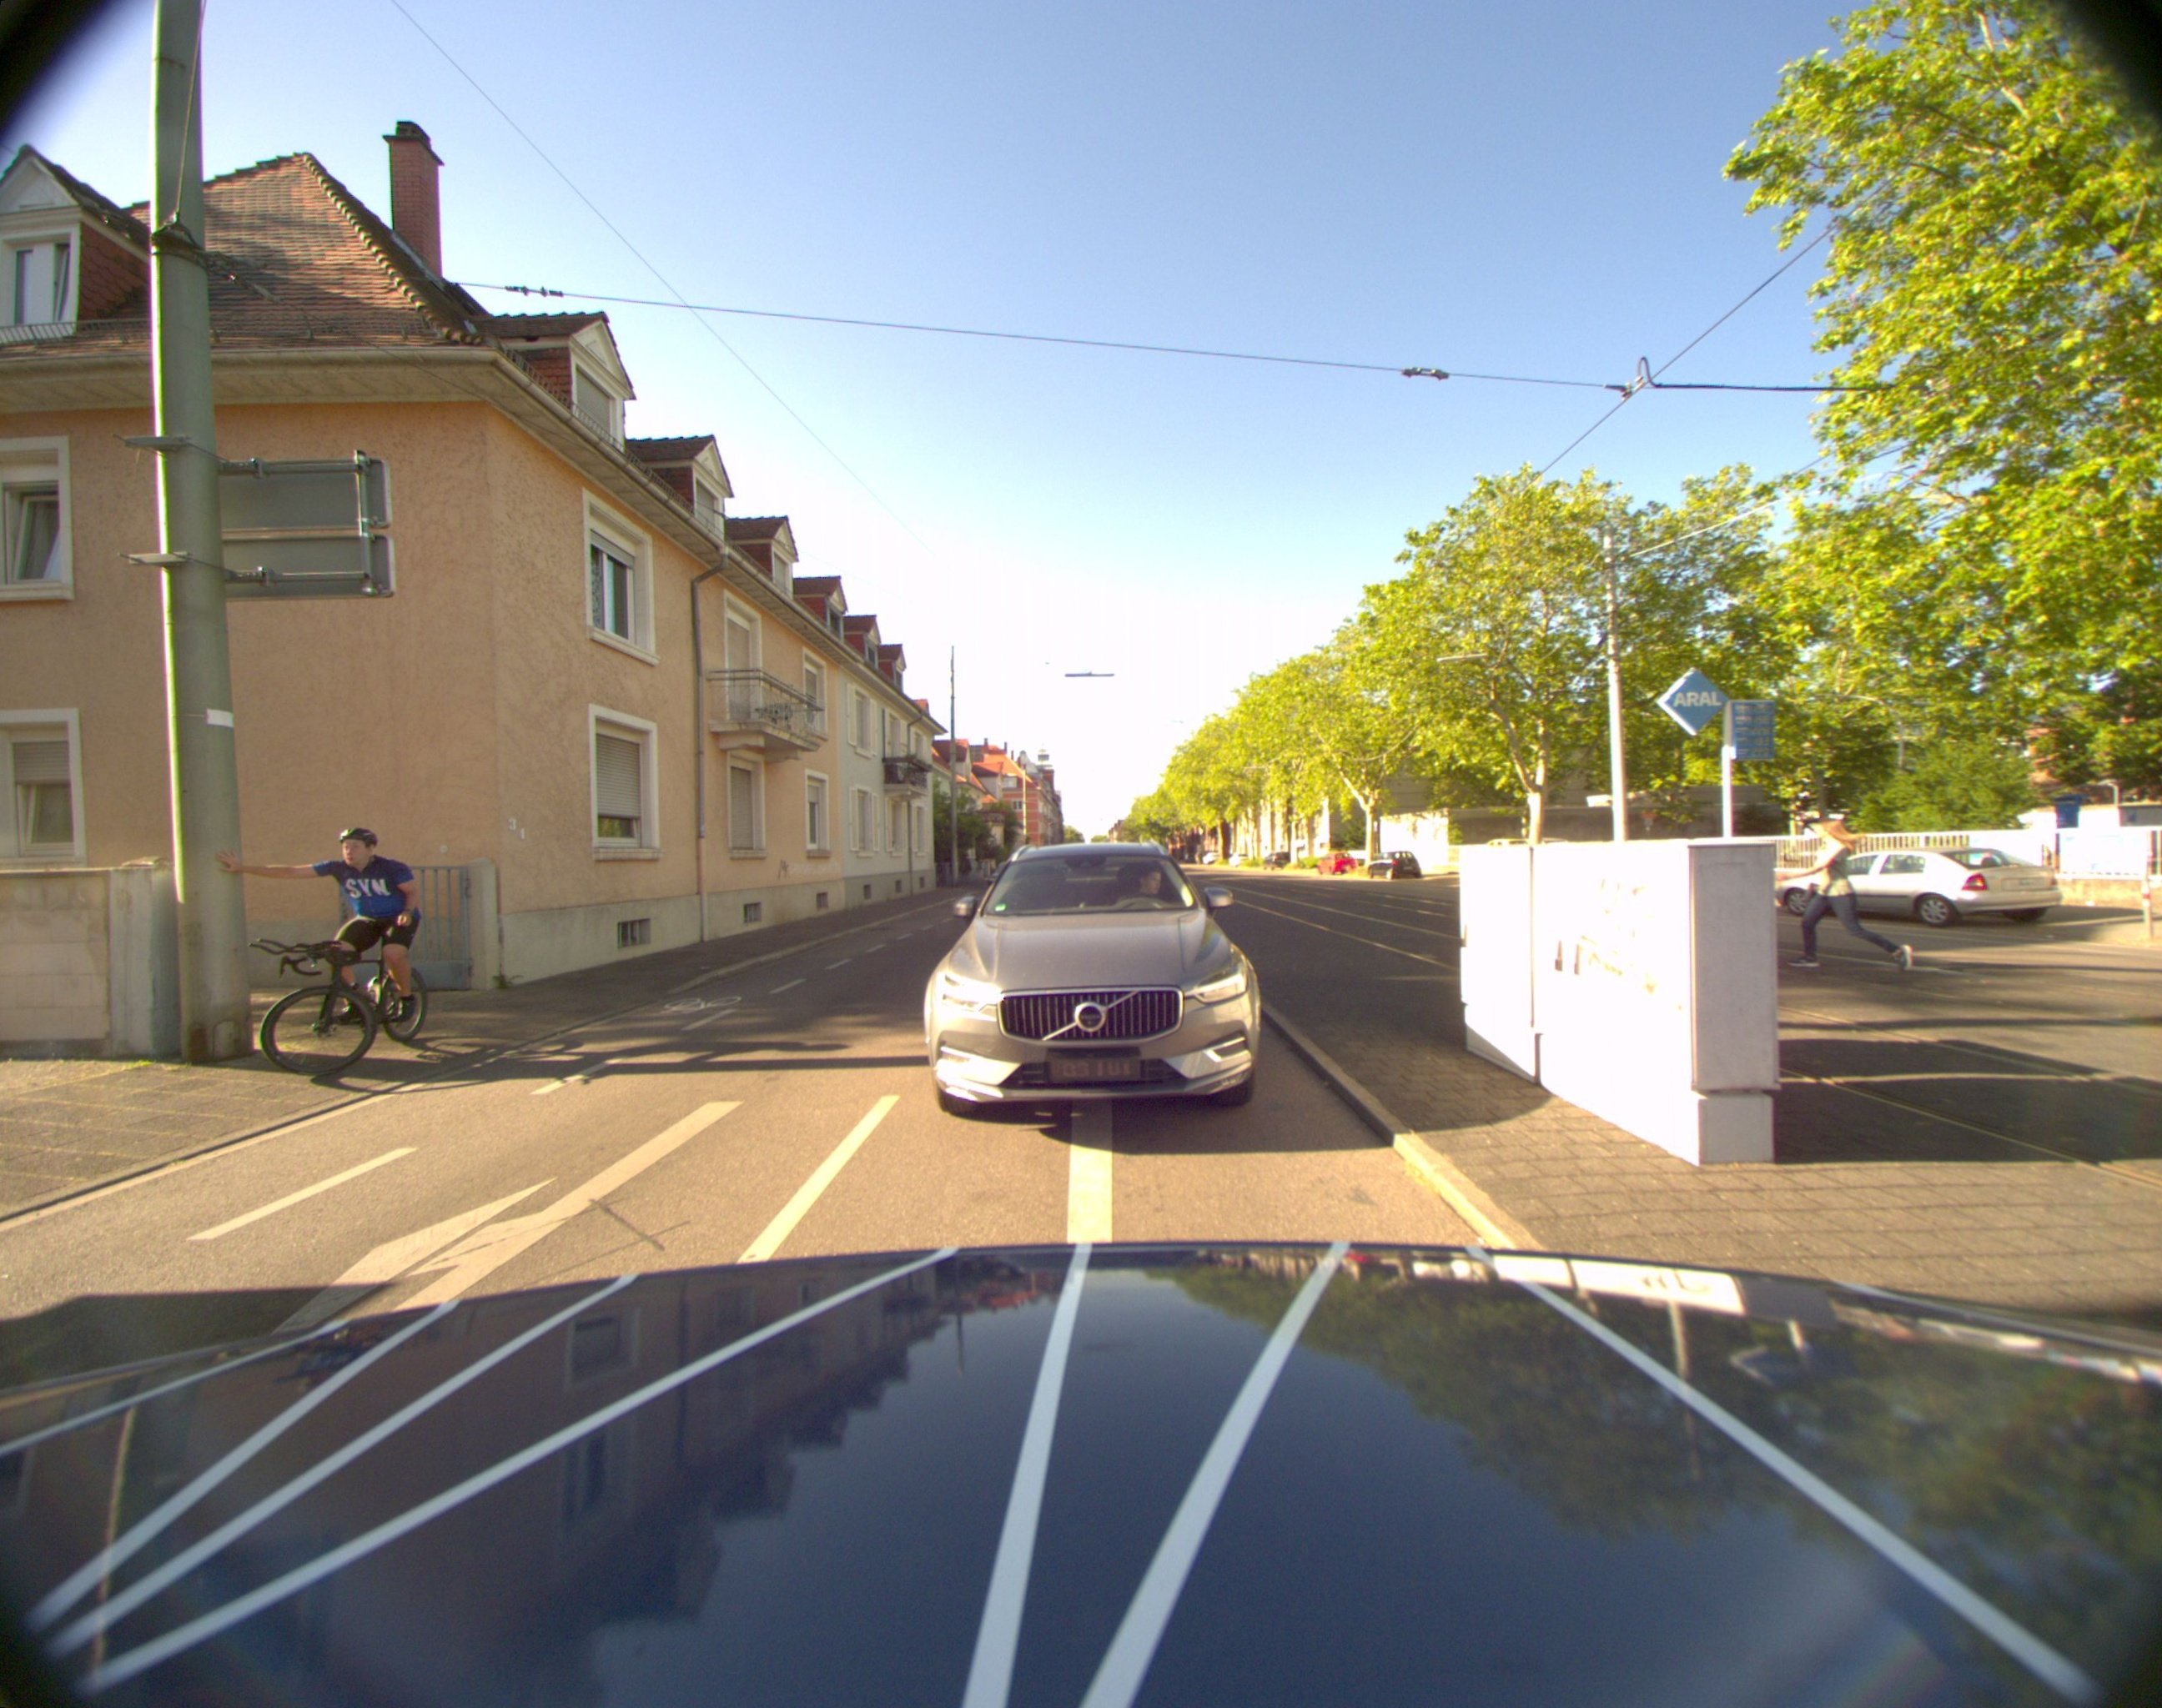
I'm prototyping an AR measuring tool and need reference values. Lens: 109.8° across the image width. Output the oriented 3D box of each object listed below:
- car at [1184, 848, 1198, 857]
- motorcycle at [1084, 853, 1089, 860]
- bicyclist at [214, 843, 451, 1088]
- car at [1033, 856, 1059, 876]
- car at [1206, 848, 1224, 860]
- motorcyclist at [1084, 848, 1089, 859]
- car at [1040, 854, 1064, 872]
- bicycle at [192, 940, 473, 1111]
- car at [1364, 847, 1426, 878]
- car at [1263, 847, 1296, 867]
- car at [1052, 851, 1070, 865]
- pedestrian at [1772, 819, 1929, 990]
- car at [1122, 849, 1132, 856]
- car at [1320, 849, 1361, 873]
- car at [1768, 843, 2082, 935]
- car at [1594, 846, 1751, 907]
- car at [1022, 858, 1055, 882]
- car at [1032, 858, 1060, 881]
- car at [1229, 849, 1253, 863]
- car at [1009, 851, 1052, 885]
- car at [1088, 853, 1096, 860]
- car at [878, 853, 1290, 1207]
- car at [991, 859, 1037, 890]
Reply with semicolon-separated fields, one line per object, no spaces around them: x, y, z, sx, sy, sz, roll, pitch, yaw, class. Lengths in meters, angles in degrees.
18.202;-0.226;125.636;1.802;1.504;4.000;-1;0;1;car
0.979;0.419;126.759;0.792;1.095;2.519;0;0;1;motorcycle
-6.145;0.859;6.299;1.076;1.854;0.846;2;1;1;bicyclist
-2.747;0.940;60.684;1.785;1.468;4.000;-1;0;1;car
17.739;-0.015;100.679;1.802;1.504;4.000;-1;0;1;car
0.955;-0.036;126.783;0.827;1.832;1.159;-2;1;1;motorcyclist
-2.557;0.762;66.838;1.875;1.477;4.000;-1;0;1;car
-5.940;1.300;6.185;0.572;0.986;1.698;2;0;1;bicycle
16.886;0.420;40.988;1.826;1.521;3.653;-2;0;1;car
17.200;0.284;66.049;1.802;1.652;4.000;-1;0;1;car
-2.199;0.444;85.500;1.875;1.477;4.000;-1;0;1;car
7.988;0.489;7.948;1.095;1.652;0.696;-1;2;42;pedestrian
10.833;-0.400;179.382;1.998;1.652;4.000;-1;0;1;car
16.947;0.433;49.757;1.641;1.499;3.046;-1;0;1;car
16.248;0.597;14.999;1.795;1.455;3.966;-4;0;2;car
16.434;0.575;21.347;1.692;1.455;3.519;-4;0;2;car
-2.680;0.987;48.312;1.785;1.346;4.000;-1;0;1;car
-2.462;1.081;54.448;1.785;1.468;4.000;-1;0;1;car
17.551;0.218;83.434;1.802;1.489;4.000;-1;0;1;car
-2.785;0.712;42.894;1.751;1.767;5.351;-1;0;3;car
2.804;0.625;194.337;1.998;1.543;4.000;-1;0;1;car
0.044;0.849;5.810;1.940;1.650;4.321;-1;0;1;car
-3.207;0.961;37.034;1.647;1.357;3.868;-1;0;4;car
